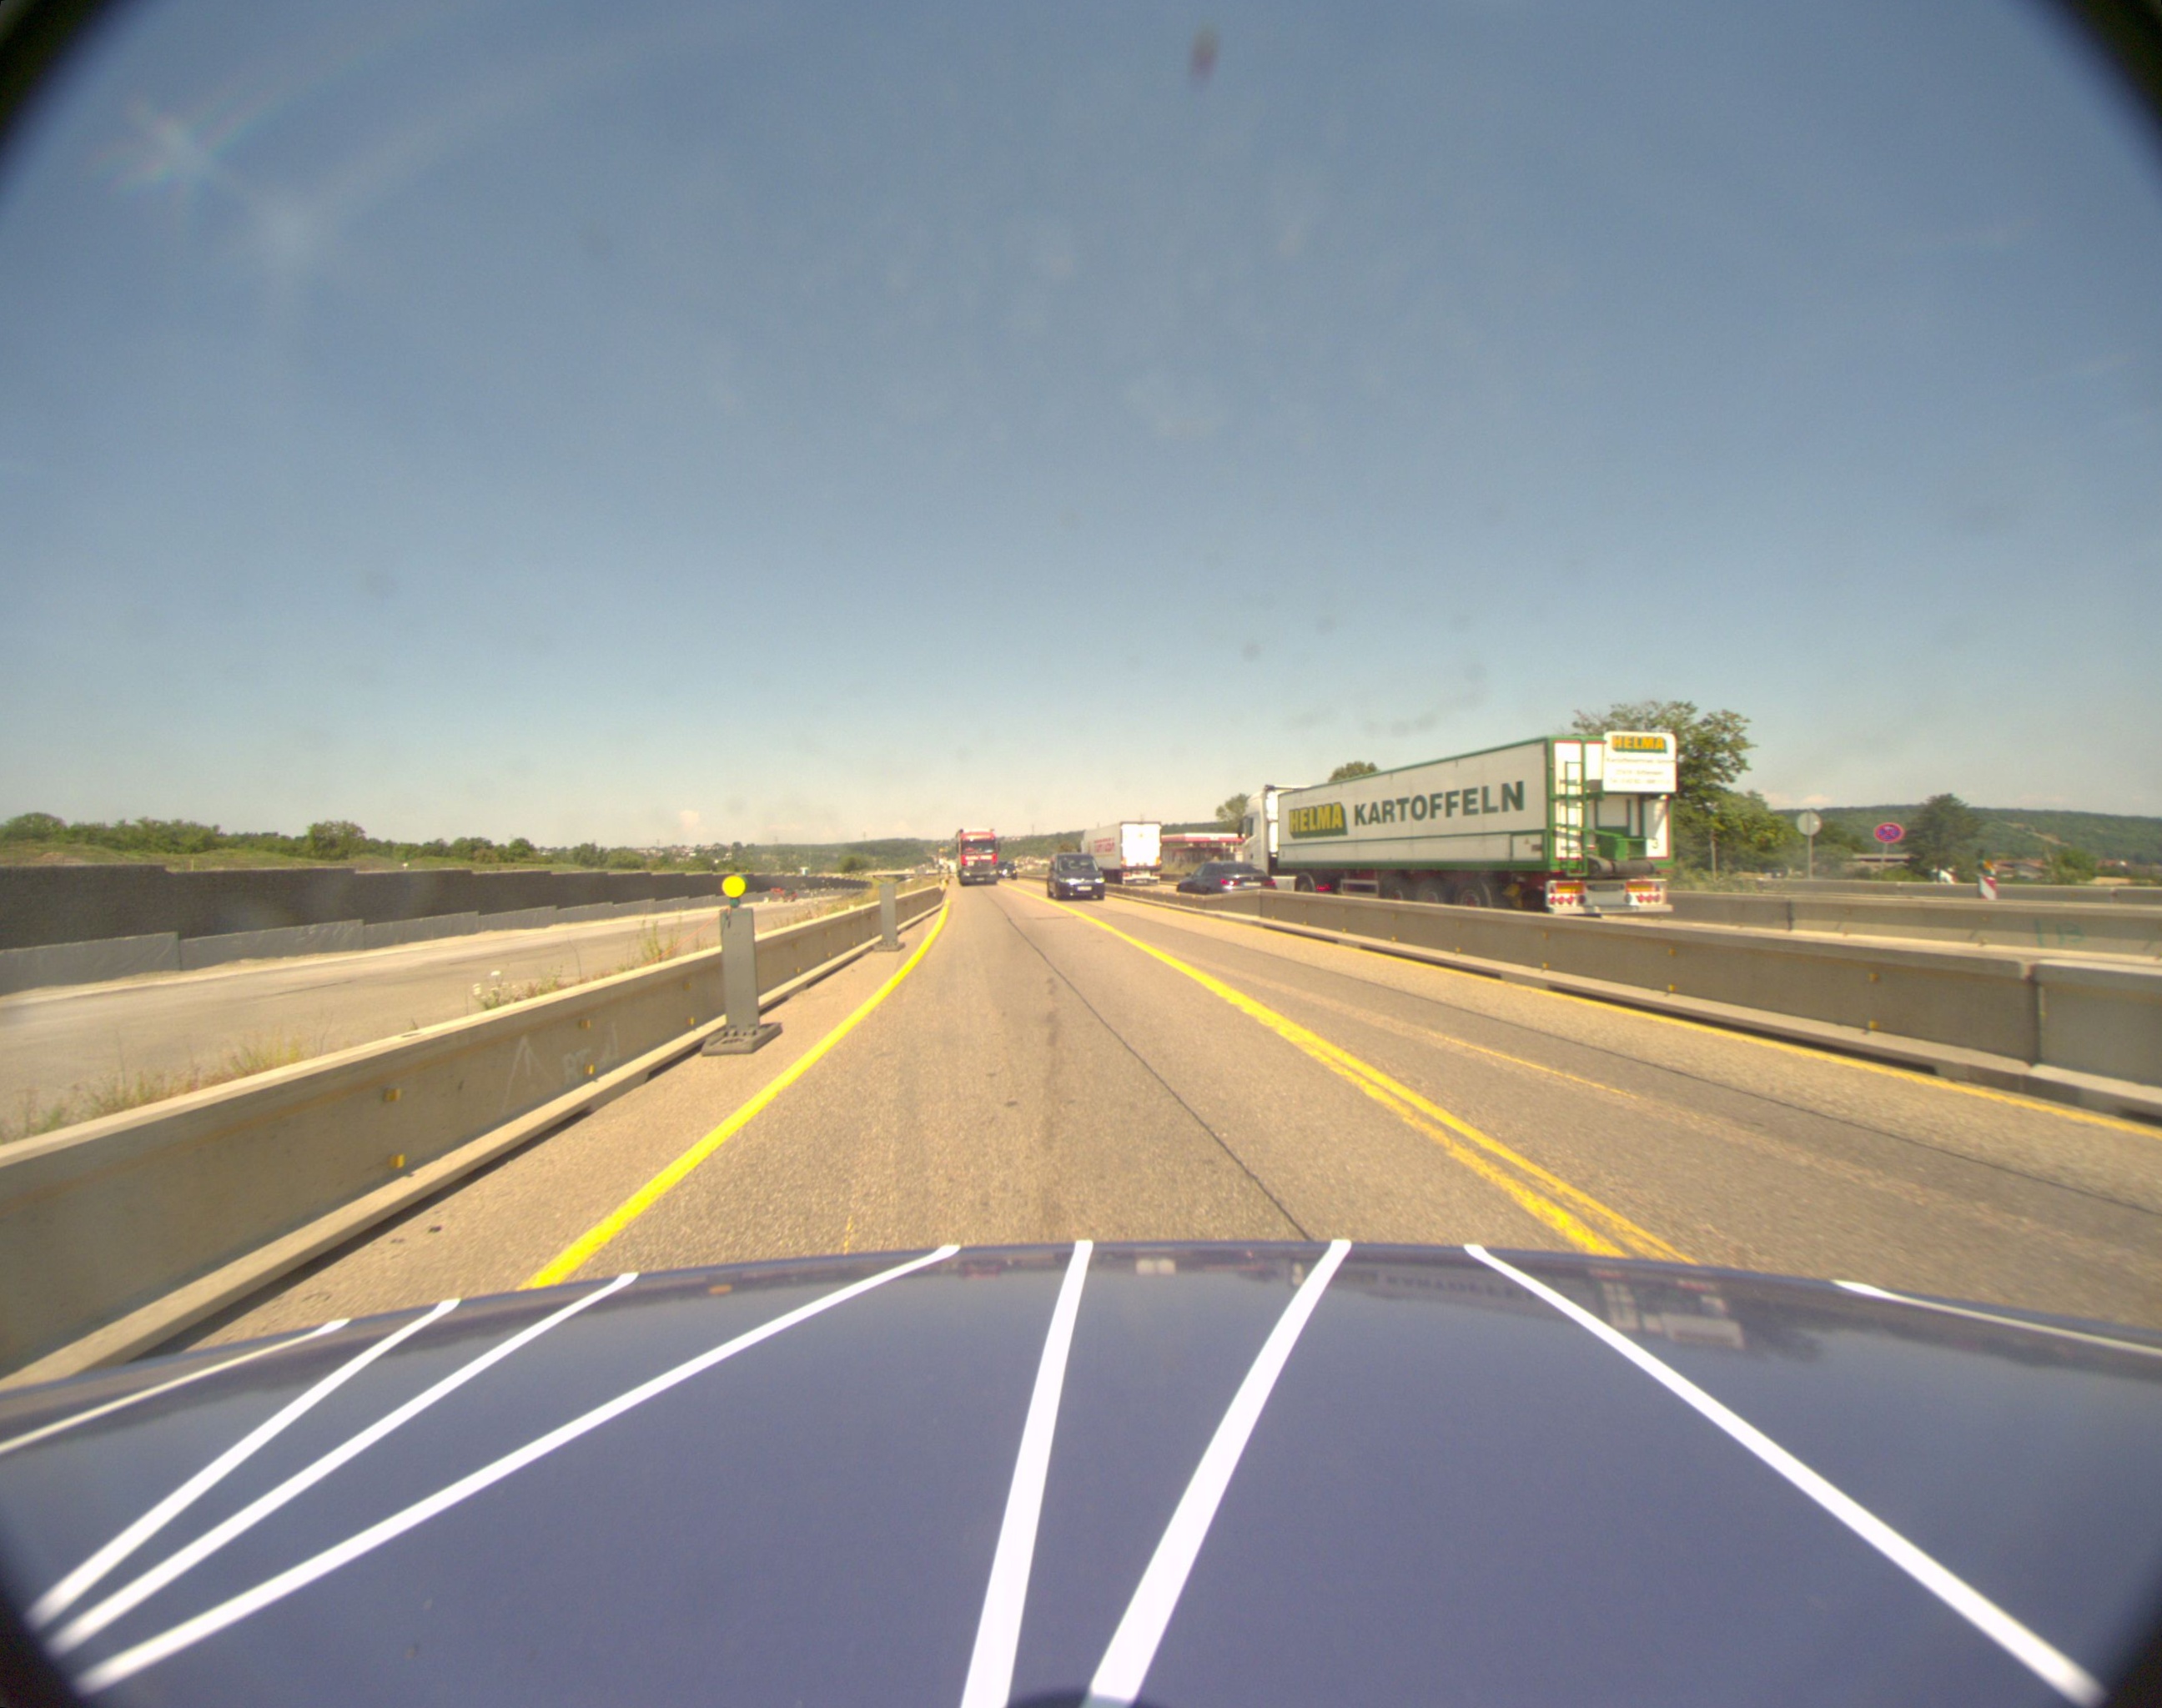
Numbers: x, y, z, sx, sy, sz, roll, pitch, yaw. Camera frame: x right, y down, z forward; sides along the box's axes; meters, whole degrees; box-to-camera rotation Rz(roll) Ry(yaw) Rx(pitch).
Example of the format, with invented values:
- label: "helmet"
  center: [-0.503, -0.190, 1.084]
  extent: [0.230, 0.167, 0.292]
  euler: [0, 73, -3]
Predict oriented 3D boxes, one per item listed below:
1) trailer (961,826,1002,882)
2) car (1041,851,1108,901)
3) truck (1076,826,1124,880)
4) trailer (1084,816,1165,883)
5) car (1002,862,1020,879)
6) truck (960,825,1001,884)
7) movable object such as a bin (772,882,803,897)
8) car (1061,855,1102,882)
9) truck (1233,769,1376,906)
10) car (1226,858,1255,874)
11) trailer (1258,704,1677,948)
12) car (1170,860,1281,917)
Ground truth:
- label: "trailer"
  center: [-7.869, 0.012, 60.226]
  extent: [2.703, 3.852, 12.414]
  euler: [-2, 0, -7]
- label: "car"
  center: [-0.335, 0.804, 29.825]
  extent: [1.927, 1.779, 4.599]
  euler: [-1, 0, -9]
- label: "truck"
  center: [1.472, -0.091, 61.794]
  extent: [2.840, 4.107, 5.453]
  euler: [-2, 0, -10]
- label: "trailer"
  center: [2.740, -0.189, 53.872]
  extent: [2.825, 4.070, 13.113]
  euler: [-2, 0, -9]
- label: "car"
  center: [-6.620, 1.547, 72.088]
  extent: [1.428, 1.477, 3.412]
  euler: [-2, 0, -9]
- label: "truck"
  center: [-7.091, 0.031, 53.837]
  extent: [2.628, 3.880, 4.930]
  euler: [-2, 0, -8]
- label: "movable object such as a bin"
  center: [-46.331, 5.635, 119.951]
  extent: [4.141, 2.135, 1.758]
  euler: [-2, 1, -36]
- label: "car"
  center: [-0.051, 0.934, 51.032]
  extent: [2.000, 1.729, 4.489]
  euler: [0, 0, -10]
- label: "truck"
  center: [7.141, -0.487, 25.002]
  extent: [2.456, 3.984, 5.073]
  euler: [-2, 0, -10]
- label: "car"
  center: [14.767, 1.096, 70.414]
  extent: [1.456, 1.368, 3.404]
  euler: [-2, 0, -9]
- label: "trailer"
  center: [8.151, -0.487, 19.220]
  extent: [2.361, 4.128, 12.487]
  euler: [-2, 0, -10]
- label: "car"
  center: [4.226, 0.958, 22.976]
  extent: [1.760, 1.469, 4.532]
  euler: [-2, 0, -10]
